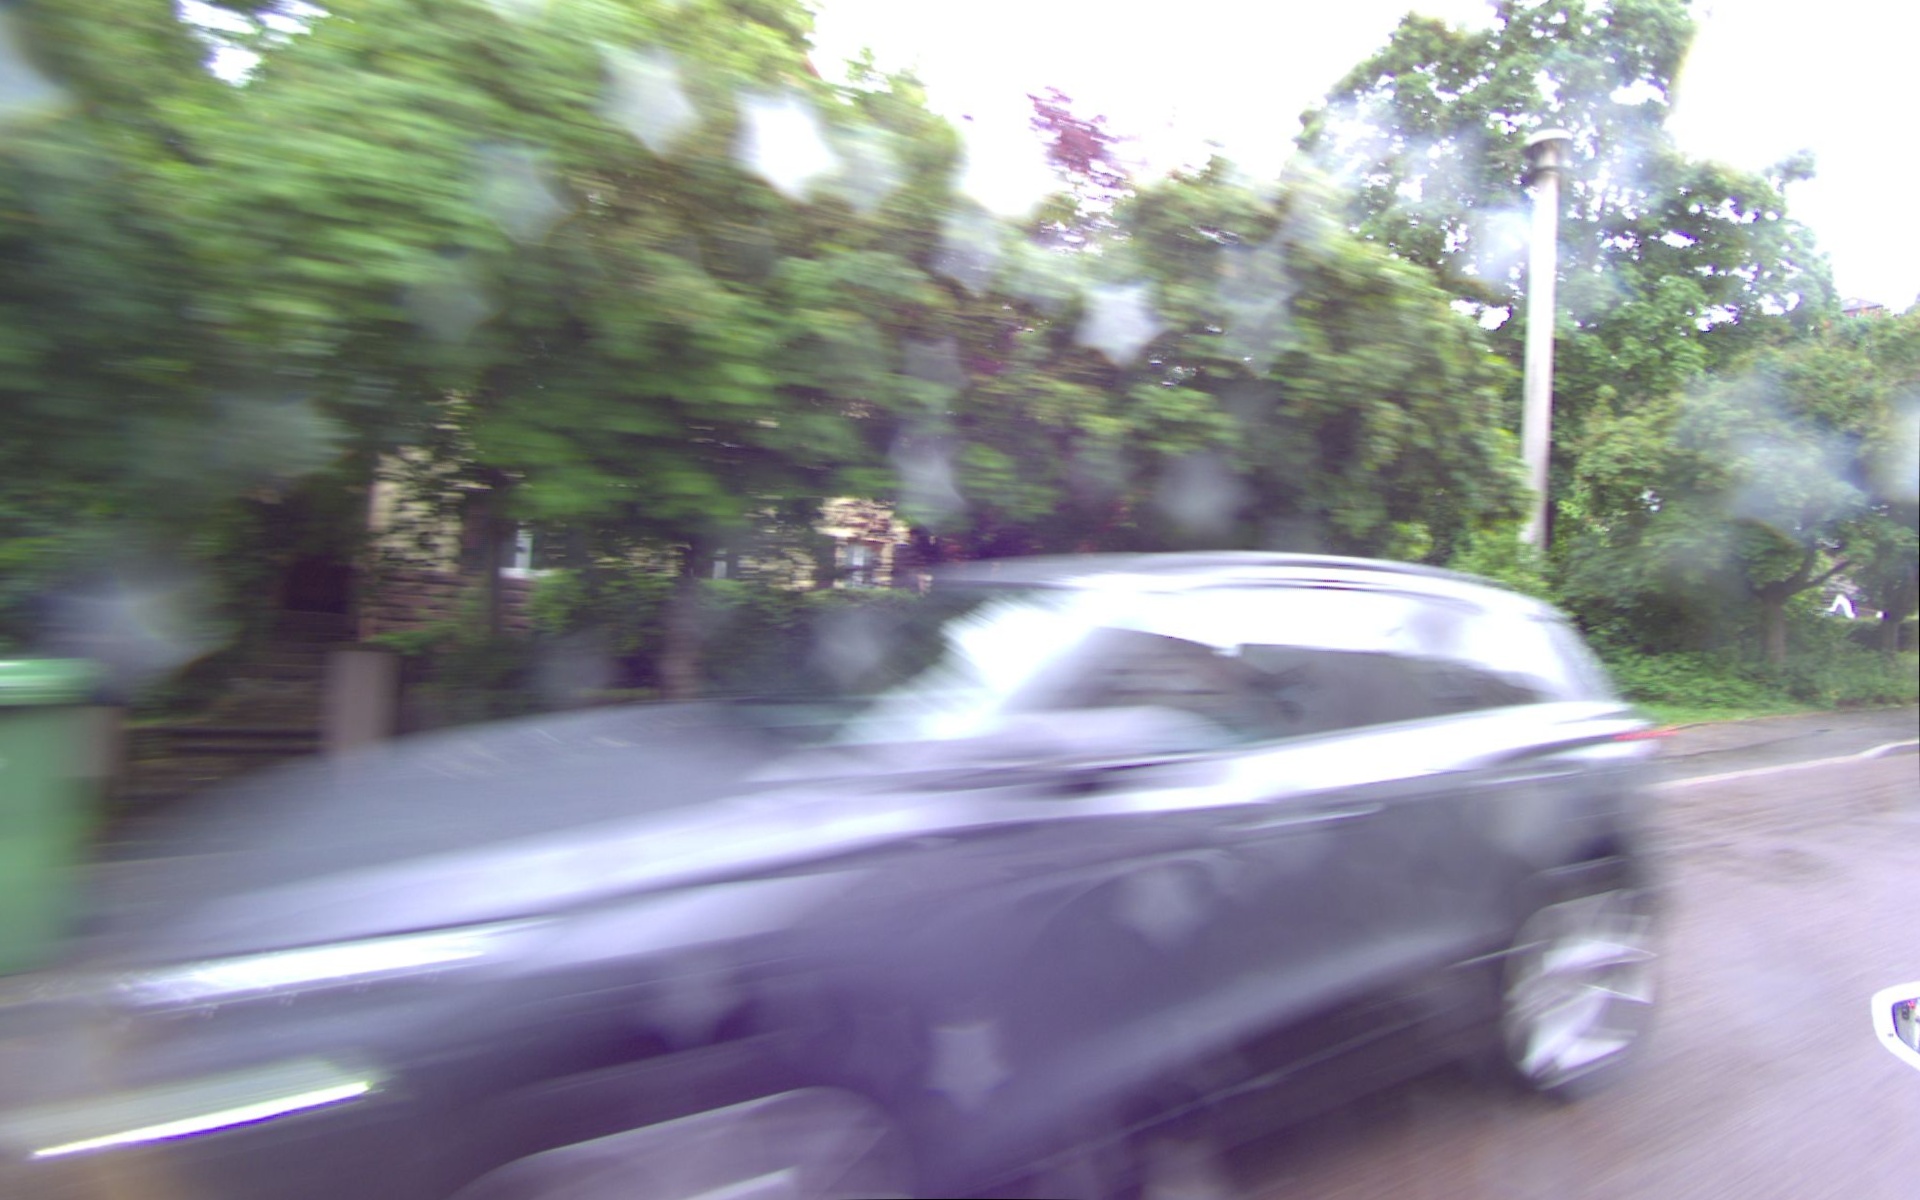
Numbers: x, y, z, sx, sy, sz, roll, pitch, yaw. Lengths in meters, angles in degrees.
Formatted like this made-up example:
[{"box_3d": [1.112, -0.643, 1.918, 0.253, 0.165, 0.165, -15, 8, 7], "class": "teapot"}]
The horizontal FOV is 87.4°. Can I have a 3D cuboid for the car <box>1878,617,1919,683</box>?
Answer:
[{"box_3d": [27.917, 1.404, 27.219, 1.975, 1.824, 4.090, 1, -1, -28], "class": "car"}]

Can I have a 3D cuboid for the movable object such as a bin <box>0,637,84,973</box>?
[{"box_3d": [-3.723, 0.707, 3.590, 0.748, 1.114, 0.717, 1, 1, -30], "class": "movable object such as a bin"}]

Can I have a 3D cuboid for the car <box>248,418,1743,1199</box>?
[{"box_3d": [0.444, 0.638, 3.229, 4.314, 1.645, 1.908, 1, -1, -32], "class": "car"}]
